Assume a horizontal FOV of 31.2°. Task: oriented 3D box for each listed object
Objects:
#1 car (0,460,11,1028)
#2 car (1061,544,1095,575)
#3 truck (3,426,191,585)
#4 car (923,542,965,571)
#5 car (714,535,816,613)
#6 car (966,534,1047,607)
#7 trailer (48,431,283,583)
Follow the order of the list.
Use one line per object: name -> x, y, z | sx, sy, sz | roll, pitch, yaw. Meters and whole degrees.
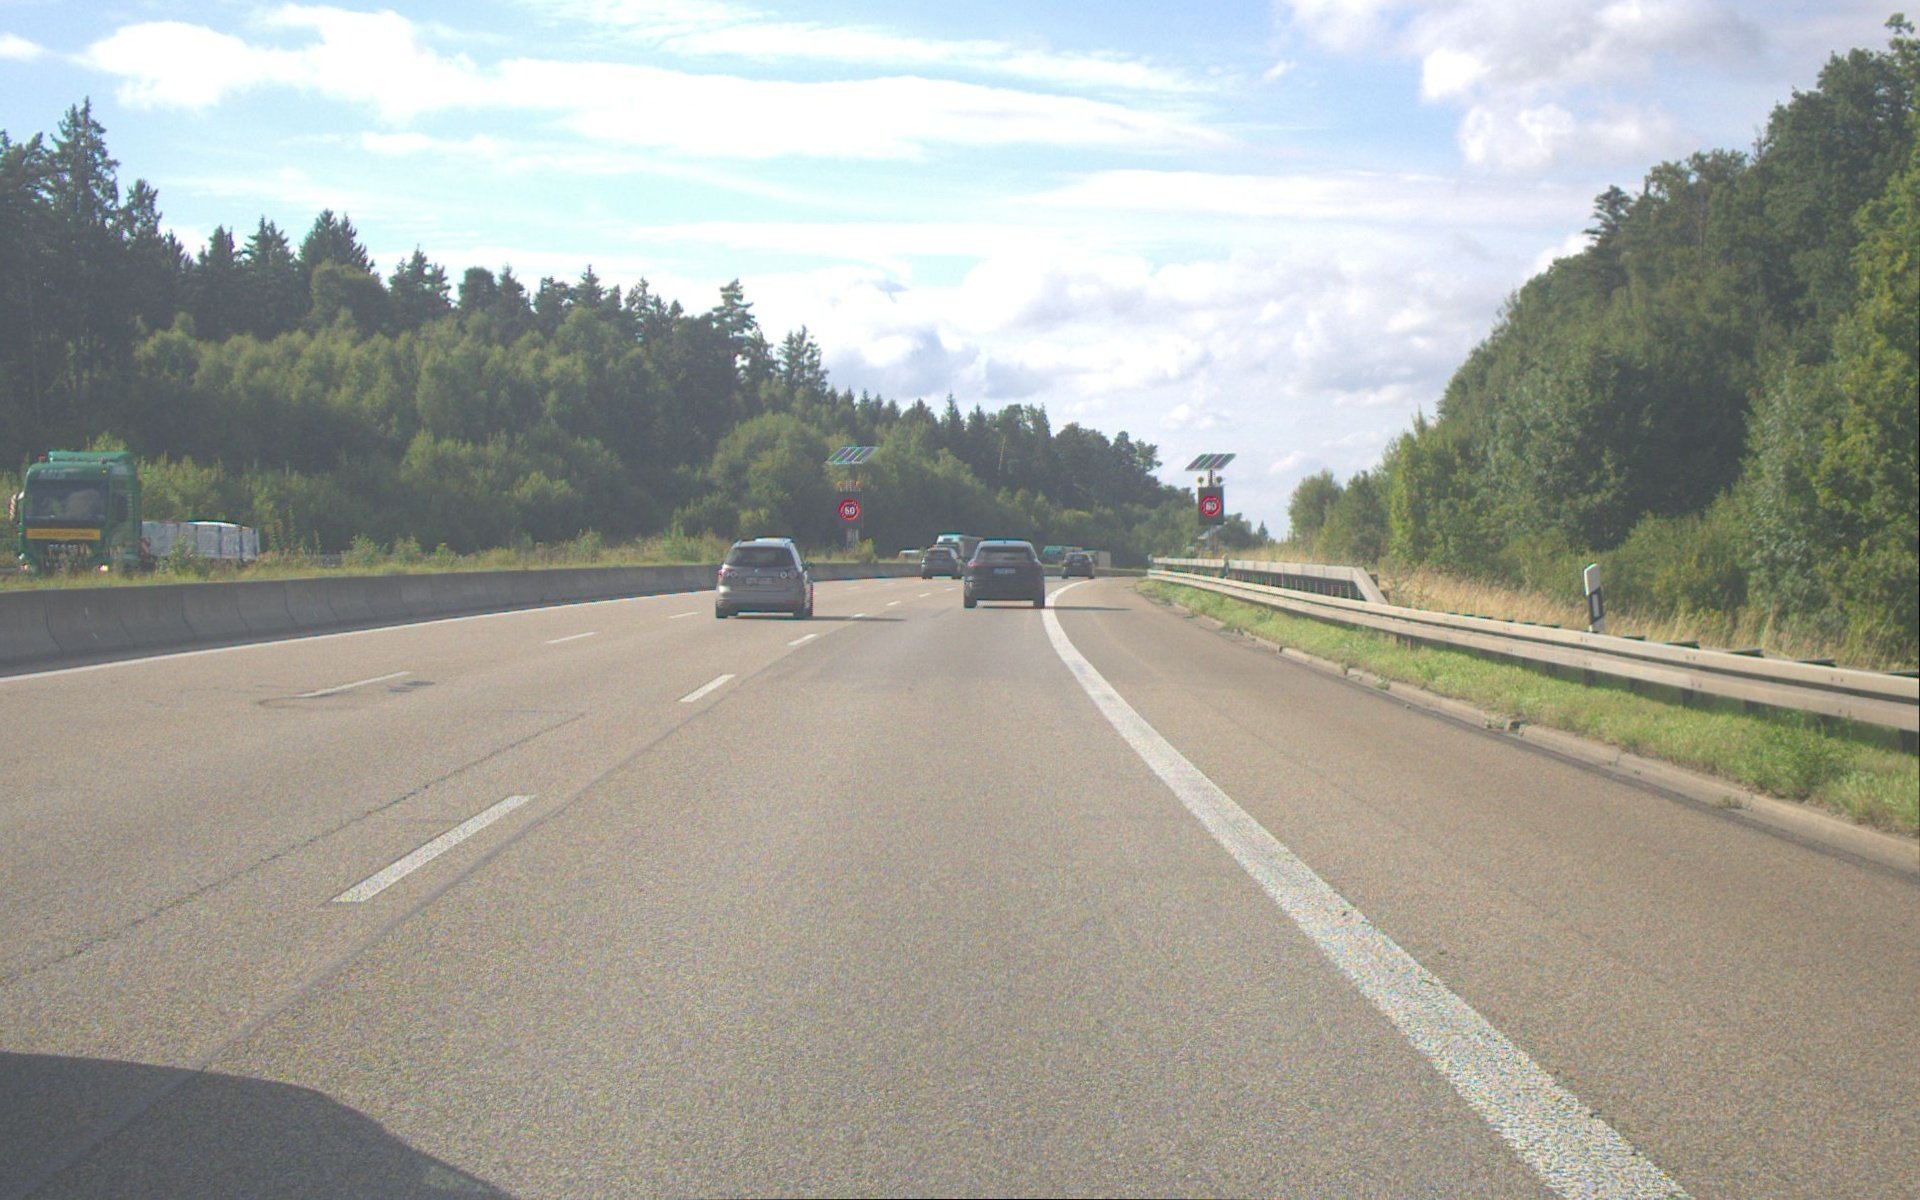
car -> -3.833, 0.471, 8.117 | 1.993, 1.701, 4.529 | 0, 1, -1
car -> 6.775, -2.337, 196.356 | 1.812, 1.700, 4.000 | 0, 1, 4
truck -> -22.490, -2.443, 89.899 | 3.375, 3.995, 5.863 | 1, 1, 1
car -> -0.848, -2.306, 181.818 | 1.874, 1.492, 3.879 | 1, 1, 4
car -> -3.882, -0.545, 69.002 | 1.873, 1.492, 3.880 | 1, 1, -1
car -> 1.092, -0.723, 82.809 | 1.873, 1.669, 3.890 | 1, 1, 0
trailer -> -22.392, -2.582, 97.880 | 3.375, 3.995, 13.641 | 1, 1, 1
